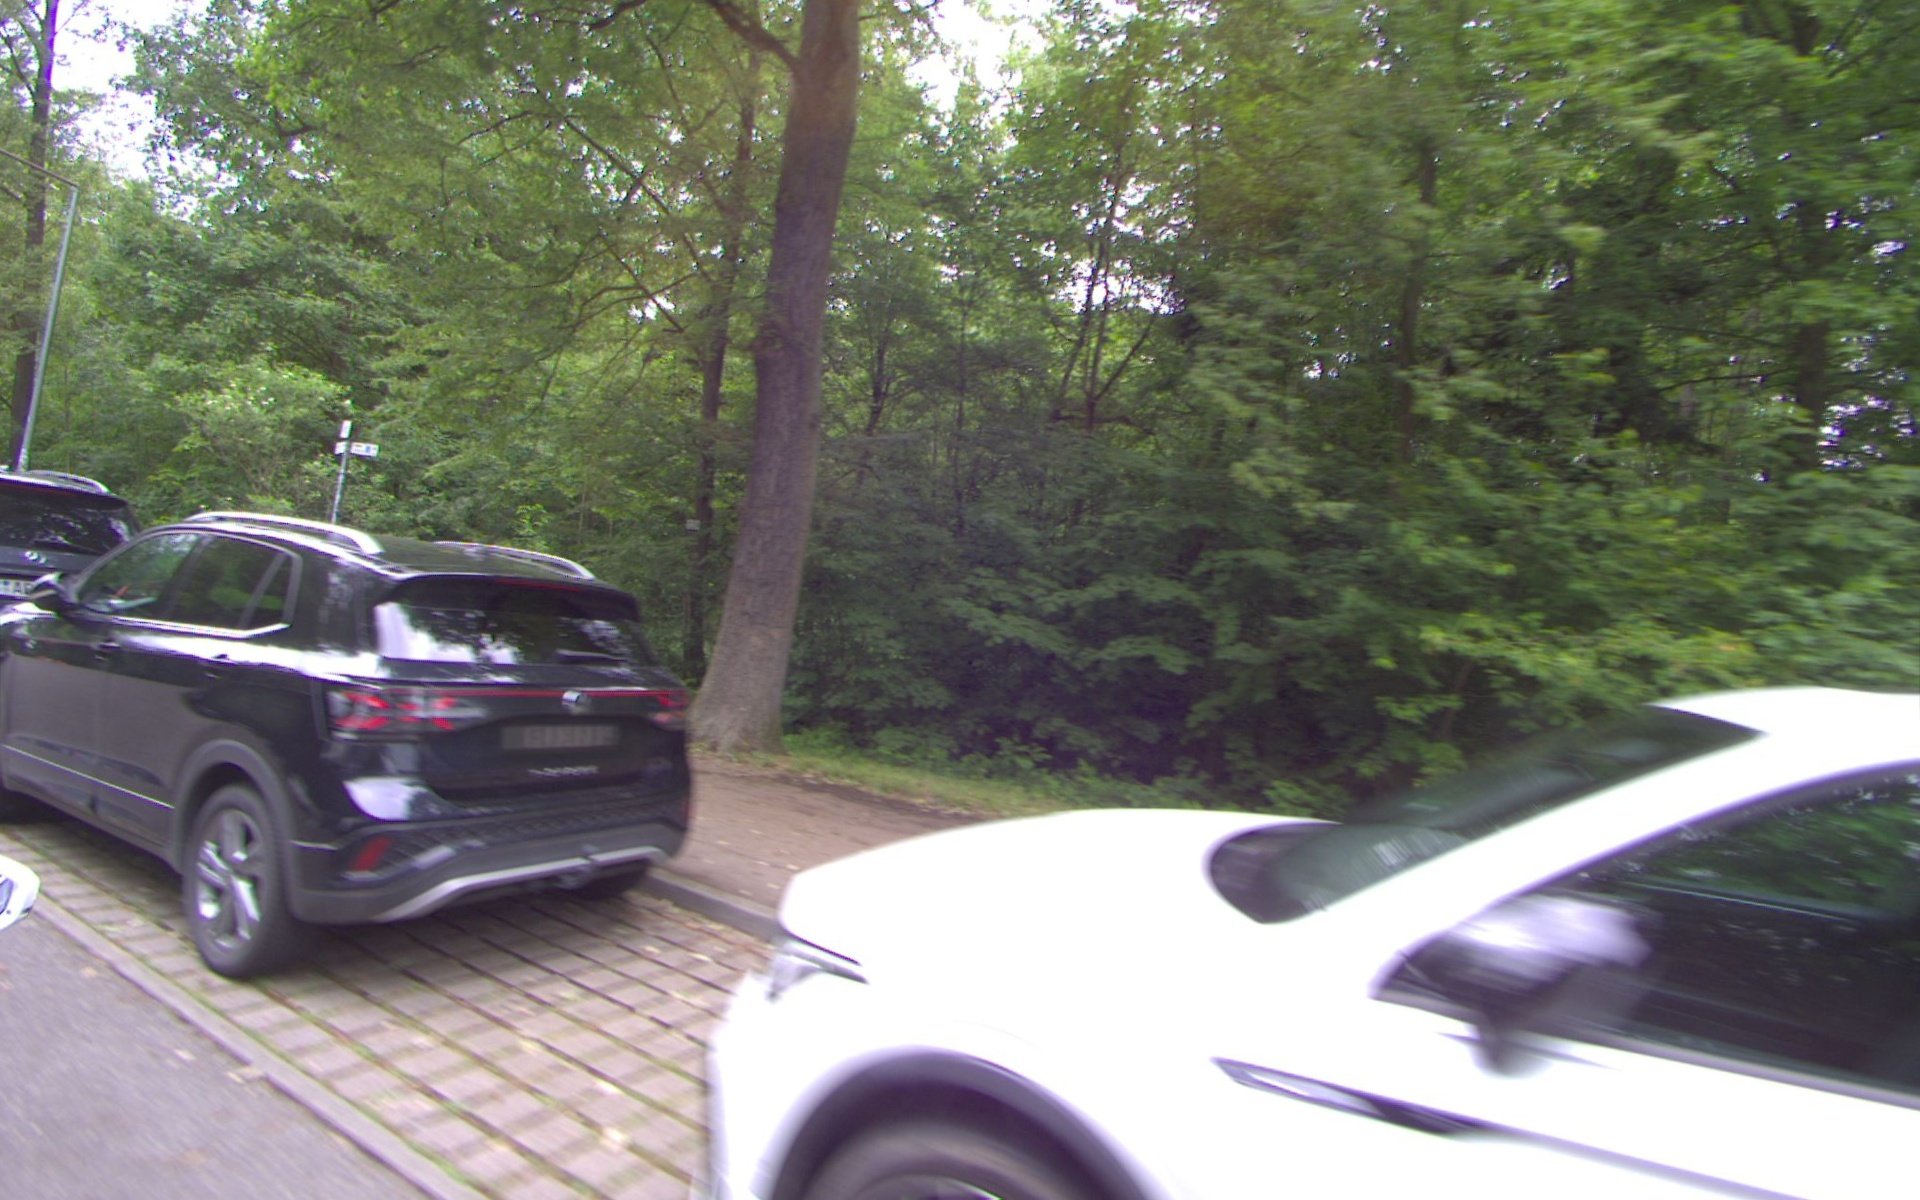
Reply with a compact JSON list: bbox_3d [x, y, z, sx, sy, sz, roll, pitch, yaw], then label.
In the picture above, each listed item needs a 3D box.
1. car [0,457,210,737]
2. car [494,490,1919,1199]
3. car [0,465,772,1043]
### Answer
[{"bbox_3d":[-8.101,-0.252,7.683,4.864,1.767,1.894,7,-2,30],"label":"car"},{"bbox_3d":[1.546,0.941,1.743,4.637,1.681,1.790,7,-2,29],"label":"car"},{"bbox_3d":[-3.256,0.379,4.882,4.371,1.626,1.755,7,-2,30],"label":"car"}]
